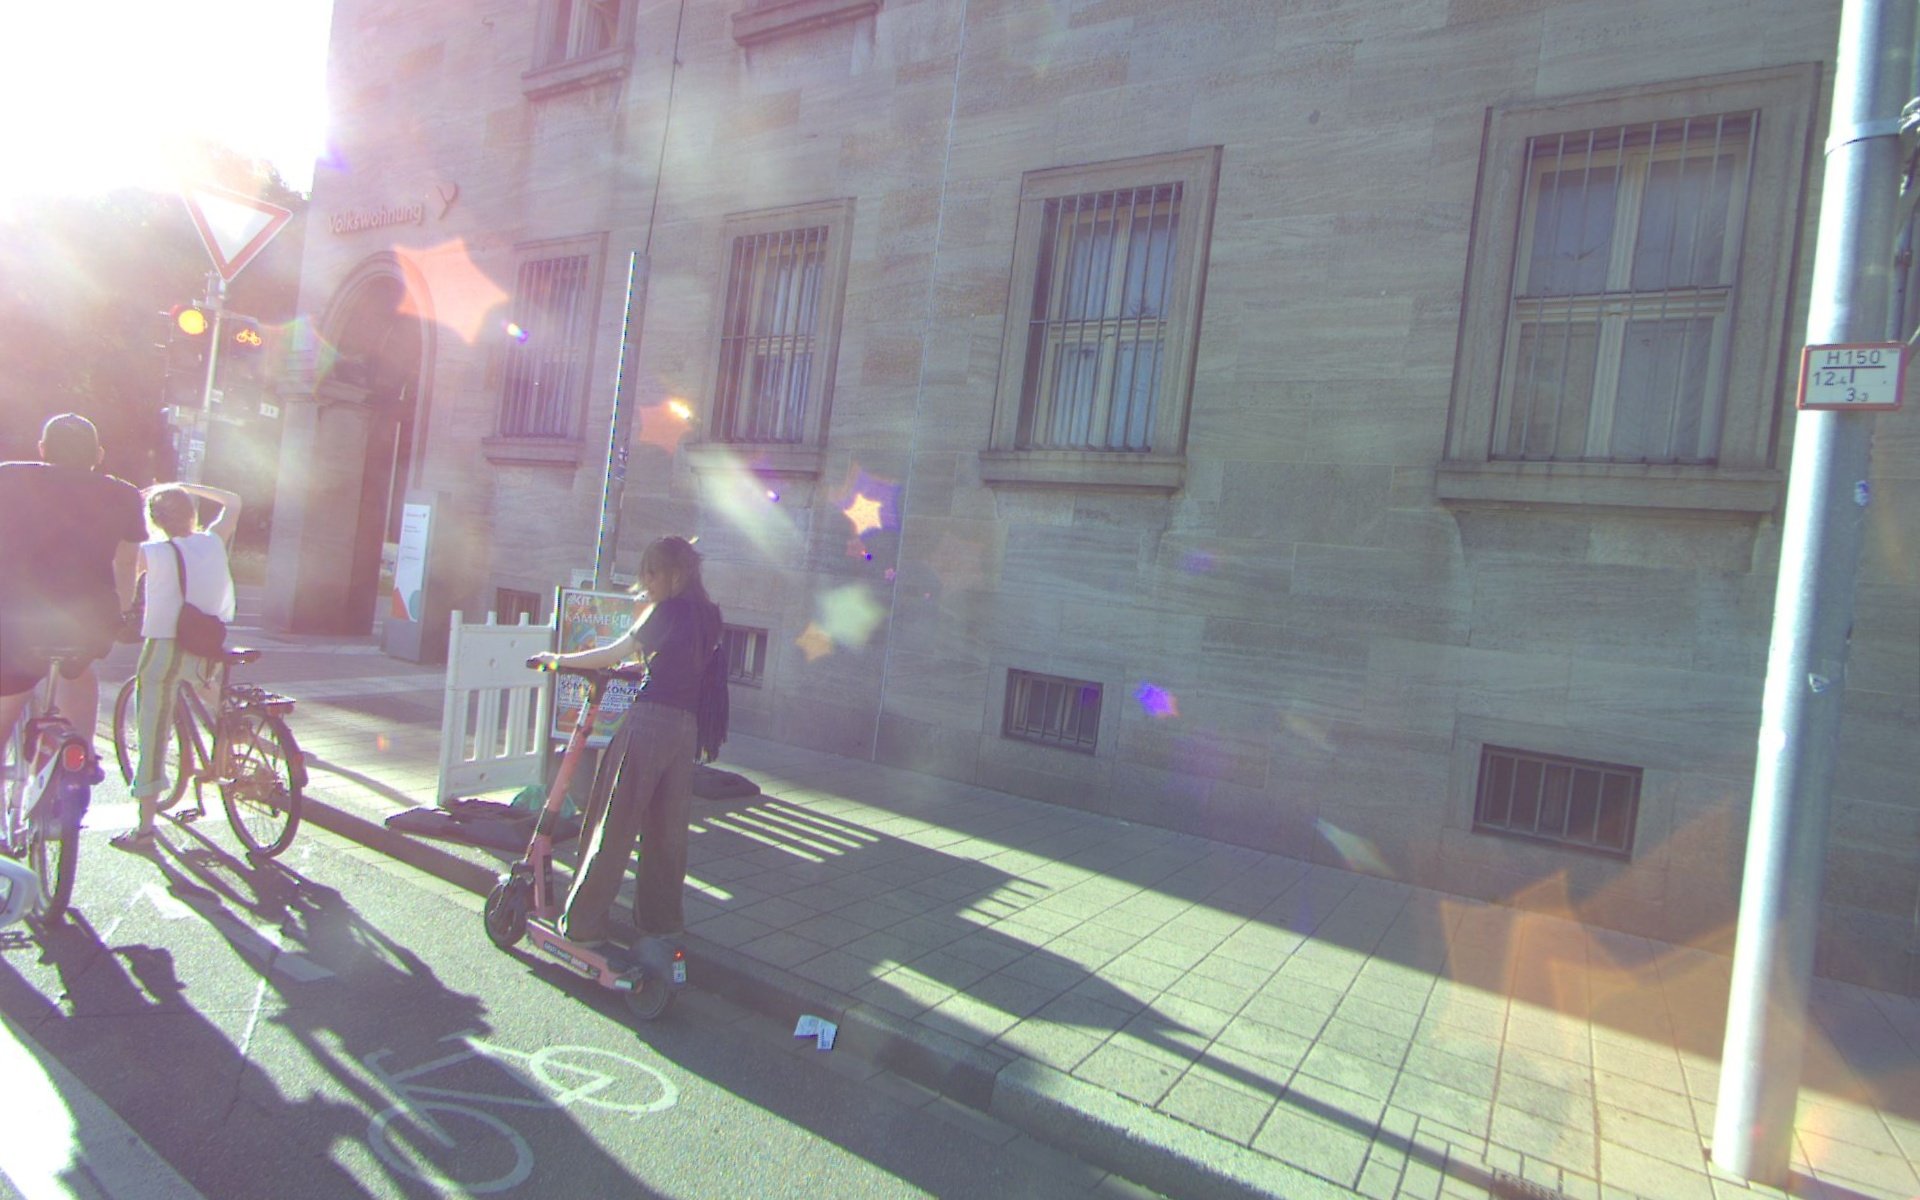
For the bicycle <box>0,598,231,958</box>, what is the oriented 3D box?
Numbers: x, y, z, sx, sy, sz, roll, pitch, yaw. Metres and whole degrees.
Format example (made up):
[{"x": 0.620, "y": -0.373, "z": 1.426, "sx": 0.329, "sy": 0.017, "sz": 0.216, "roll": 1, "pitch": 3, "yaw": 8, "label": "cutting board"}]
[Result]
[{"x": -3.716, "y": 0.592, "z": 3.989, "sx": 1.717, "sy": 1.057, "sz": 0.624, "roll": 7, "pitch": 0, "yaw": 31, "label": "bicycle"}]

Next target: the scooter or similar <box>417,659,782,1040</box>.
[{"x": -1.432, "y": 0.890, "z": 3.971, "sx": 1.251, "sy": 1.163, "sz": 0.574, "roll": 5, "pitch": -2, "yaw": 30, "label": "scooter or similar"}]

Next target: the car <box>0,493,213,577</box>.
[{"x": -23.474, "y": -1.747, "z": 27.348, "sx": 1.967, "sy": 1.533, "sz": 4.586, "roll": 6, "pitch": -2, "yaw": 32, "label": "car"}]

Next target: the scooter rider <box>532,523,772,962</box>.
[{"x": -1.180, "y": 0.502, "z": 3.842, "sx": 0.542, "sy": 1.515, "sz": 0.570, "roll": 7, "pitch": 0, "yaw": -40, "label": "scooter rider"}]

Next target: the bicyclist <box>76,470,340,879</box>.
[{"x": -3.637, "y": 0.317, "z": 4.864, "sx": 0.934, "sy": 1.760, "sz": 0.584, "roll": 7, "pitch": 0, "yaw": 32, "label": "bicyclist"}]

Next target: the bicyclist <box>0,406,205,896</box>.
[{"x": -3.652, "y": 0.171, "z": 3.983, "sx": 0.897, "sy": 1.736, "sz": 0.624, "roll": 7, "pitch": 0, "yaw": 30, "label": "bicyclist"}]

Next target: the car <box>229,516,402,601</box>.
[{"x": -20.273, "y": -1.257, "z": 31.803, "sx": 1.968, "sy": 2.037, "sz": 3.994, "roll": 6, "pitch": -2, "yaw": 33, "label": "car"}]

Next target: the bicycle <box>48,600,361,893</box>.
[{"x": -3.704, "y": 0.630, "z": 4.885, "sx": 1.718, "sy": 1.057, "sz": 0.582, "roll": 7, "pitch": 0, "yaw": 33, "label": "bicycle"}]
